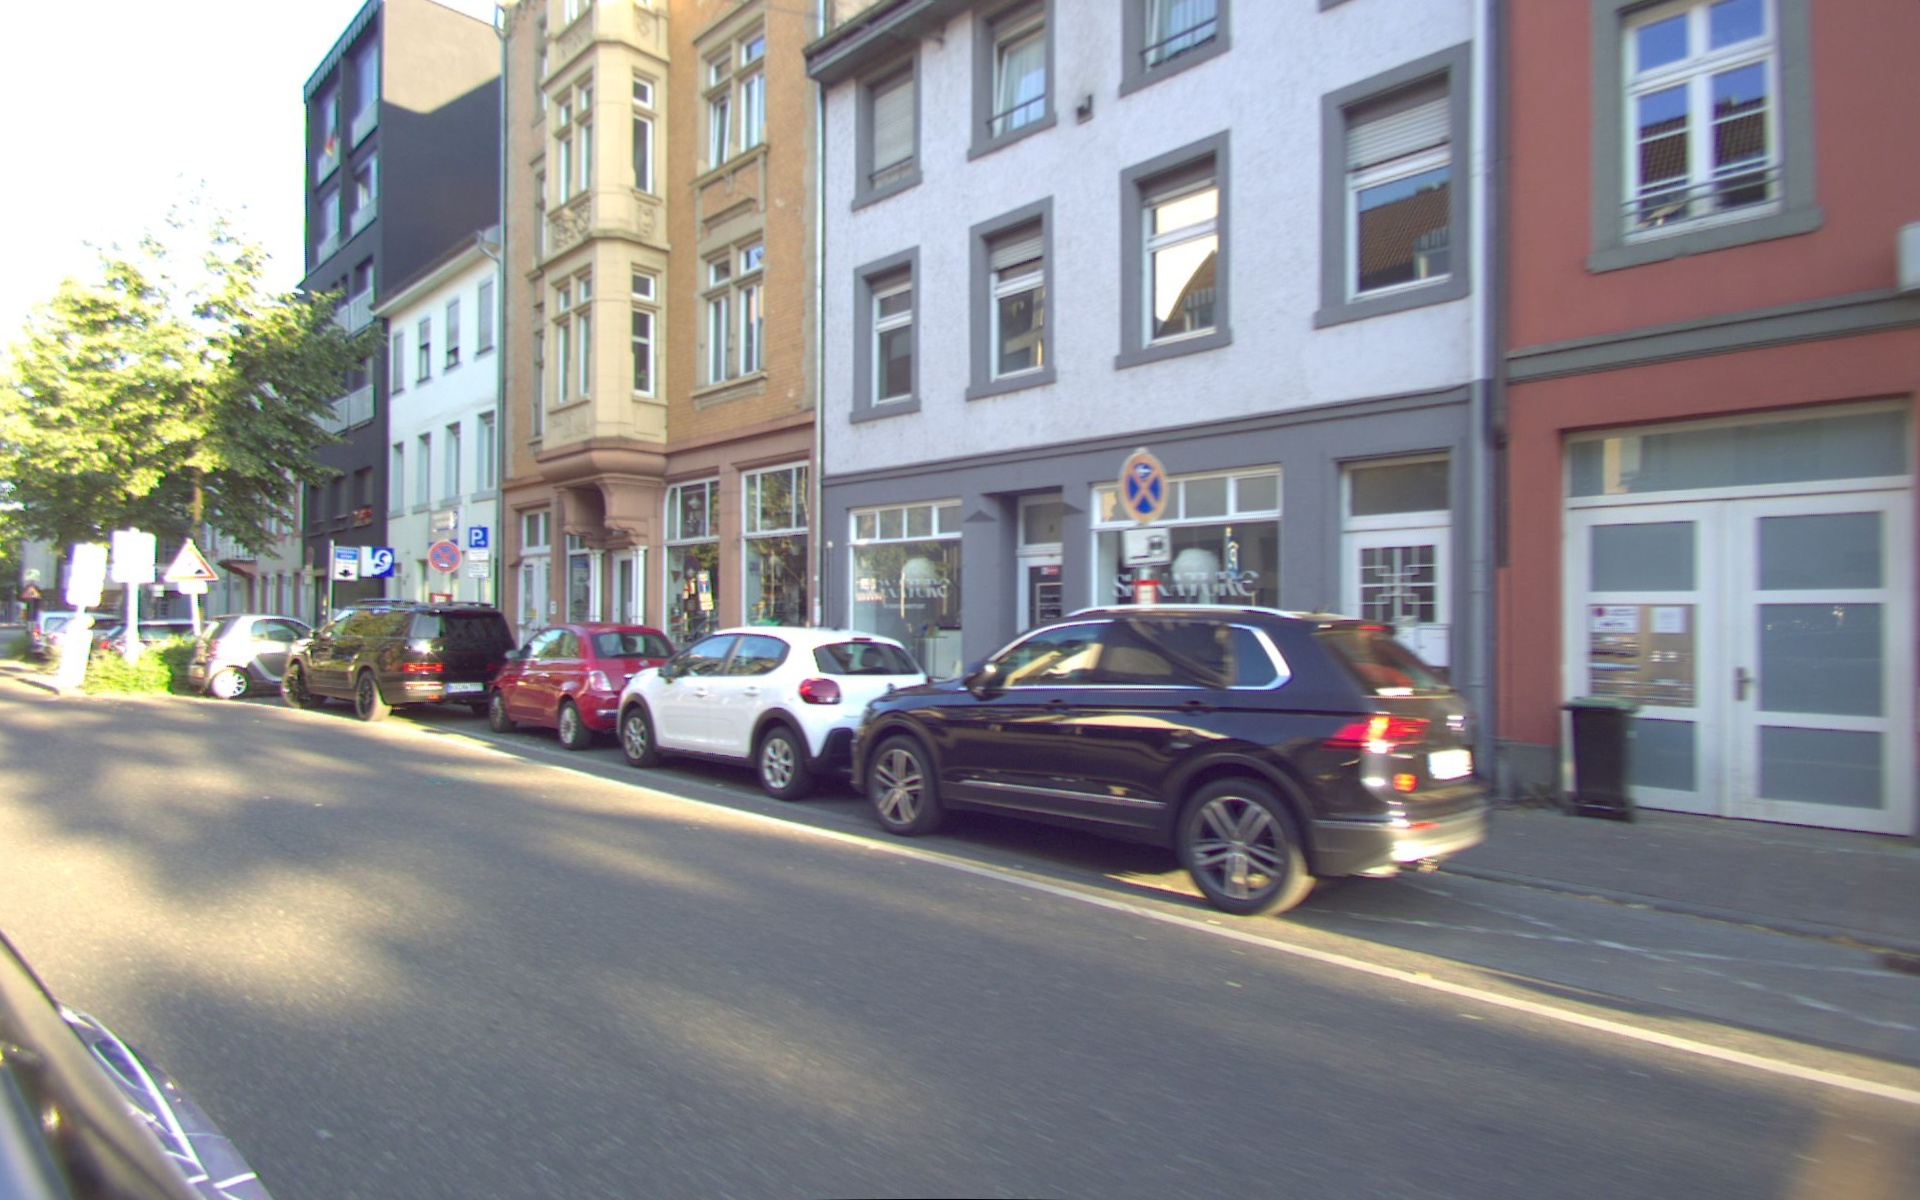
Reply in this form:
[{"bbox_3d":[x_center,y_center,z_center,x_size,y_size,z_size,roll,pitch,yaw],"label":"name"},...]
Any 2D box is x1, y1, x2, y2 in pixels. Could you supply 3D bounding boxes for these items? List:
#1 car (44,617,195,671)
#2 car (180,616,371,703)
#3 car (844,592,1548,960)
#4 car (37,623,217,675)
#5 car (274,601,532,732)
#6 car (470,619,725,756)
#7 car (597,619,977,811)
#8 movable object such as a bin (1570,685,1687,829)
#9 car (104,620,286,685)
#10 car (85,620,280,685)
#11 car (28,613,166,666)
[{"bbox_3d":[-27.959,1.418,33.728,3.780,1.597,1.743,0,0,-43],"label":"car"},{"bbox_3d":[-13.050,1.140,19.367,1.571,1.532,2.666,-3,-4,41],"label":"car"},{"bbox_3d":[1.259,0.861,6.682,4.240,1.645,1.753,-1,-4,45],"label":"car"},{"bbox_3d":[-26.296,1.492,32.054,1.761,1.528,4.164,-1,-2,41],"label":"car"},{"bbox_3d":[-8.744,0.938,15.716,4.698,1.741,1.885,-1,-3,40],"label":"car"},{"bbox_3d":[-4.771,1.041,13.119,1.753,1.526,3.486,4,-4,-45],"label":"car"},{"bbox_3d":[-1.864,0.985,10.080,3.952,1.526,1.753,-1,-3,45],"label":"car"},{"bbox_3d":[5.113,1.173,7.747,0.671,0.997,0.425,-1,-1,44],"label":"movable object such as a bin"},{"bbox_3d":[-18.481,1.215,24.502,3.356,1.402,1.688,0,-1,-44],"label":"car"},{"bbox_3d":[-20.233,1.300,26.424,1.858,1.529,3.849,-2,-1,45],"label":"car"},{"bbox_3d":[-31.679,1.418,37.207,3.764,1.863,1.702,1,-2,-42],"label":"car"}]
